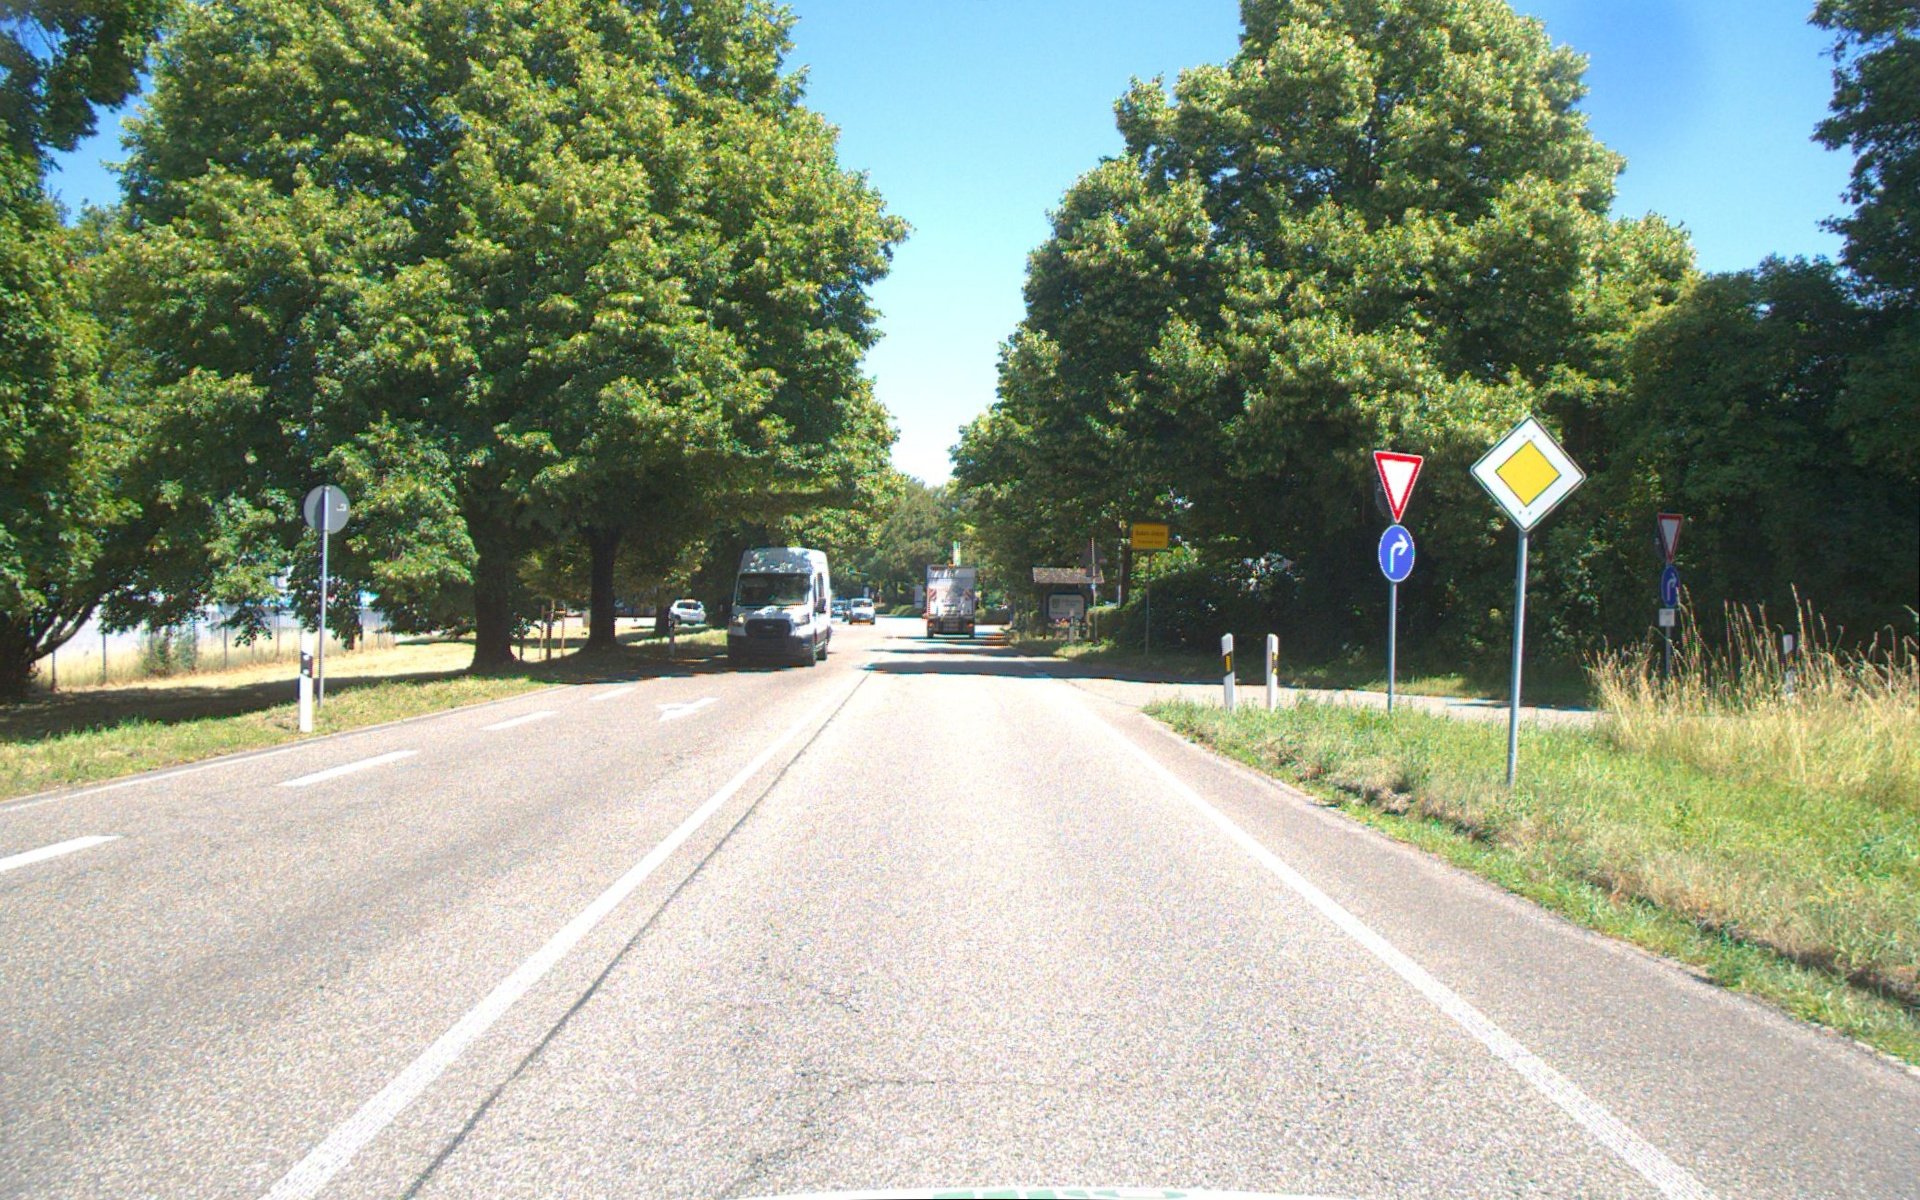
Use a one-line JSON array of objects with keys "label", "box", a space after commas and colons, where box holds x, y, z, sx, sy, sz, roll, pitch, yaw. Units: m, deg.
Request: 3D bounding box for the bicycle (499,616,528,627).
[{"label": "bicycle", "box": [-26.769, 1.289, 99.161, 1.640, 0.657, 0.424, 0, 0, -6]}]

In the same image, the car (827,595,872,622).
[{"label": "car", "box": [-8.051, 0.610, 120.078, 1.963, 1.889, 5.286, 0, 0, -19]}]

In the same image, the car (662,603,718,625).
[{"label": "car", "box": [-16.939, 0.889, 103.590, 3.357, 1.386, 1.333, 0, 0, 28]}]

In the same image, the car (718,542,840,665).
[{"label": "car", "box": [-4.197, 0.080, 39.491, 2.030, 2.673, 6.784, 0, 0, 1]}]

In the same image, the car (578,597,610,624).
[{"label": "car", "box": [-22.210, 0.622, 100.350, 1.707, 1.613, 3.983, 0, 0, -15]}]

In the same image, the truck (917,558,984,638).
[{"label": "truck", "box": [-0.346, -0.113, 69.496, 2.480, 3.190, 5.363, 0, 1, 3]}]

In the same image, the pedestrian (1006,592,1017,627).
[{"label": "pedestrian", "box": [2.733, 0.509, 87.447, 0.536, 1.807, 0.577, 0, 0, 4]}]
